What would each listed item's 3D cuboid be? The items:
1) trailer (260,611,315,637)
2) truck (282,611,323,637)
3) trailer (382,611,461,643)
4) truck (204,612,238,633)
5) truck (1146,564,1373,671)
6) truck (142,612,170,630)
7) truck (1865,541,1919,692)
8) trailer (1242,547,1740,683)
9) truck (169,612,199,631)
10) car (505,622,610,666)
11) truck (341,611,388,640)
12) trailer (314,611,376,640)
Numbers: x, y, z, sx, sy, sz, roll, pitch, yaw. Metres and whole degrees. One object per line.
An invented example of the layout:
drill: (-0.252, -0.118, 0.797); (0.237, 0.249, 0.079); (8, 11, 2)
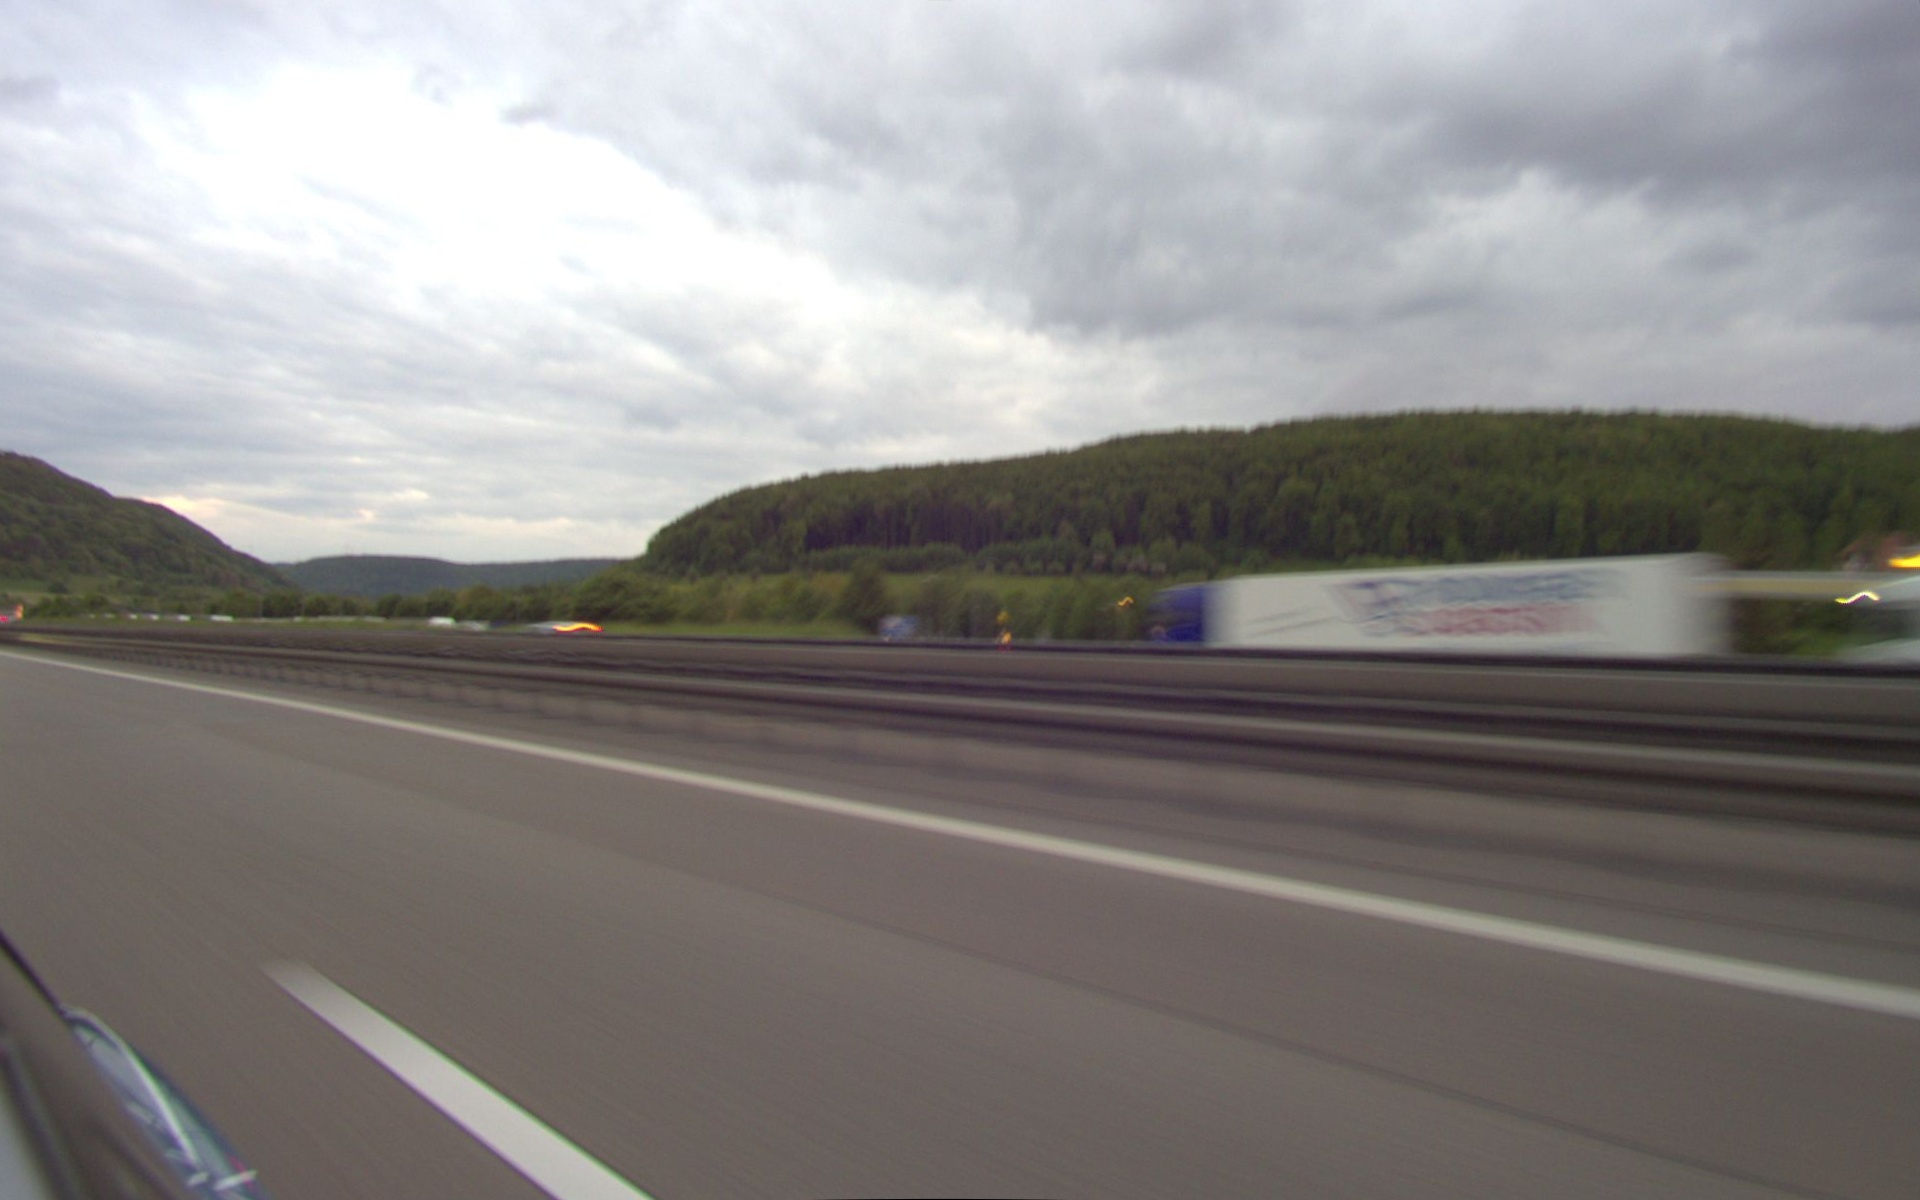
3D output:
trailer: (-85.071, 3.032, 127.854); (11.722, 3.076, 2.843); (-1, -2, 42)
truck: (-80.403, 2.949, 123.790); (5.302, 3.112, 2.837); (-1, -2, 42)
trailer: (-53.658, 2.641, 100.662); (11.150, 3.112, 2.838); (-1, -2, 40)
truck: (-110.289, 3.322, 150.954); (5.891, 3.112, 2.837); (-1, -2, 42)
truck: (10.403, 0.611, 35.674); (7.173, 3.401, 2.842); (-1, -1, 42)
truck: (-142.959, 3.716, 179.977); (5.891, 3.112, 2.837); (-1, -2, 42)
truck: (24.774, 0.352, 22.582); (6.724, 3.451, 2.843); (-1, -1, 42)
trailer: (15.438, 0.481, 31.047); (13.222, 3.451, 2.842); (-1, -1, 43)
truck: (-127.379, 3.526, 166.049); (5.891, 3.112, 2.837); (-1, -2, 42)
car: (-15.826, 1.674, 39.666); (4.739, 1.605, 1.972); (-1, -1, 42)
truck: (-64.866, 2.767, 110.221); (5.302, 3.112, 2.837); (-1, -2, 42)
trailer: (-69.776, 2.827, 114.634); (11.156, 3.112, 2.837); (-1, -2, 42)
